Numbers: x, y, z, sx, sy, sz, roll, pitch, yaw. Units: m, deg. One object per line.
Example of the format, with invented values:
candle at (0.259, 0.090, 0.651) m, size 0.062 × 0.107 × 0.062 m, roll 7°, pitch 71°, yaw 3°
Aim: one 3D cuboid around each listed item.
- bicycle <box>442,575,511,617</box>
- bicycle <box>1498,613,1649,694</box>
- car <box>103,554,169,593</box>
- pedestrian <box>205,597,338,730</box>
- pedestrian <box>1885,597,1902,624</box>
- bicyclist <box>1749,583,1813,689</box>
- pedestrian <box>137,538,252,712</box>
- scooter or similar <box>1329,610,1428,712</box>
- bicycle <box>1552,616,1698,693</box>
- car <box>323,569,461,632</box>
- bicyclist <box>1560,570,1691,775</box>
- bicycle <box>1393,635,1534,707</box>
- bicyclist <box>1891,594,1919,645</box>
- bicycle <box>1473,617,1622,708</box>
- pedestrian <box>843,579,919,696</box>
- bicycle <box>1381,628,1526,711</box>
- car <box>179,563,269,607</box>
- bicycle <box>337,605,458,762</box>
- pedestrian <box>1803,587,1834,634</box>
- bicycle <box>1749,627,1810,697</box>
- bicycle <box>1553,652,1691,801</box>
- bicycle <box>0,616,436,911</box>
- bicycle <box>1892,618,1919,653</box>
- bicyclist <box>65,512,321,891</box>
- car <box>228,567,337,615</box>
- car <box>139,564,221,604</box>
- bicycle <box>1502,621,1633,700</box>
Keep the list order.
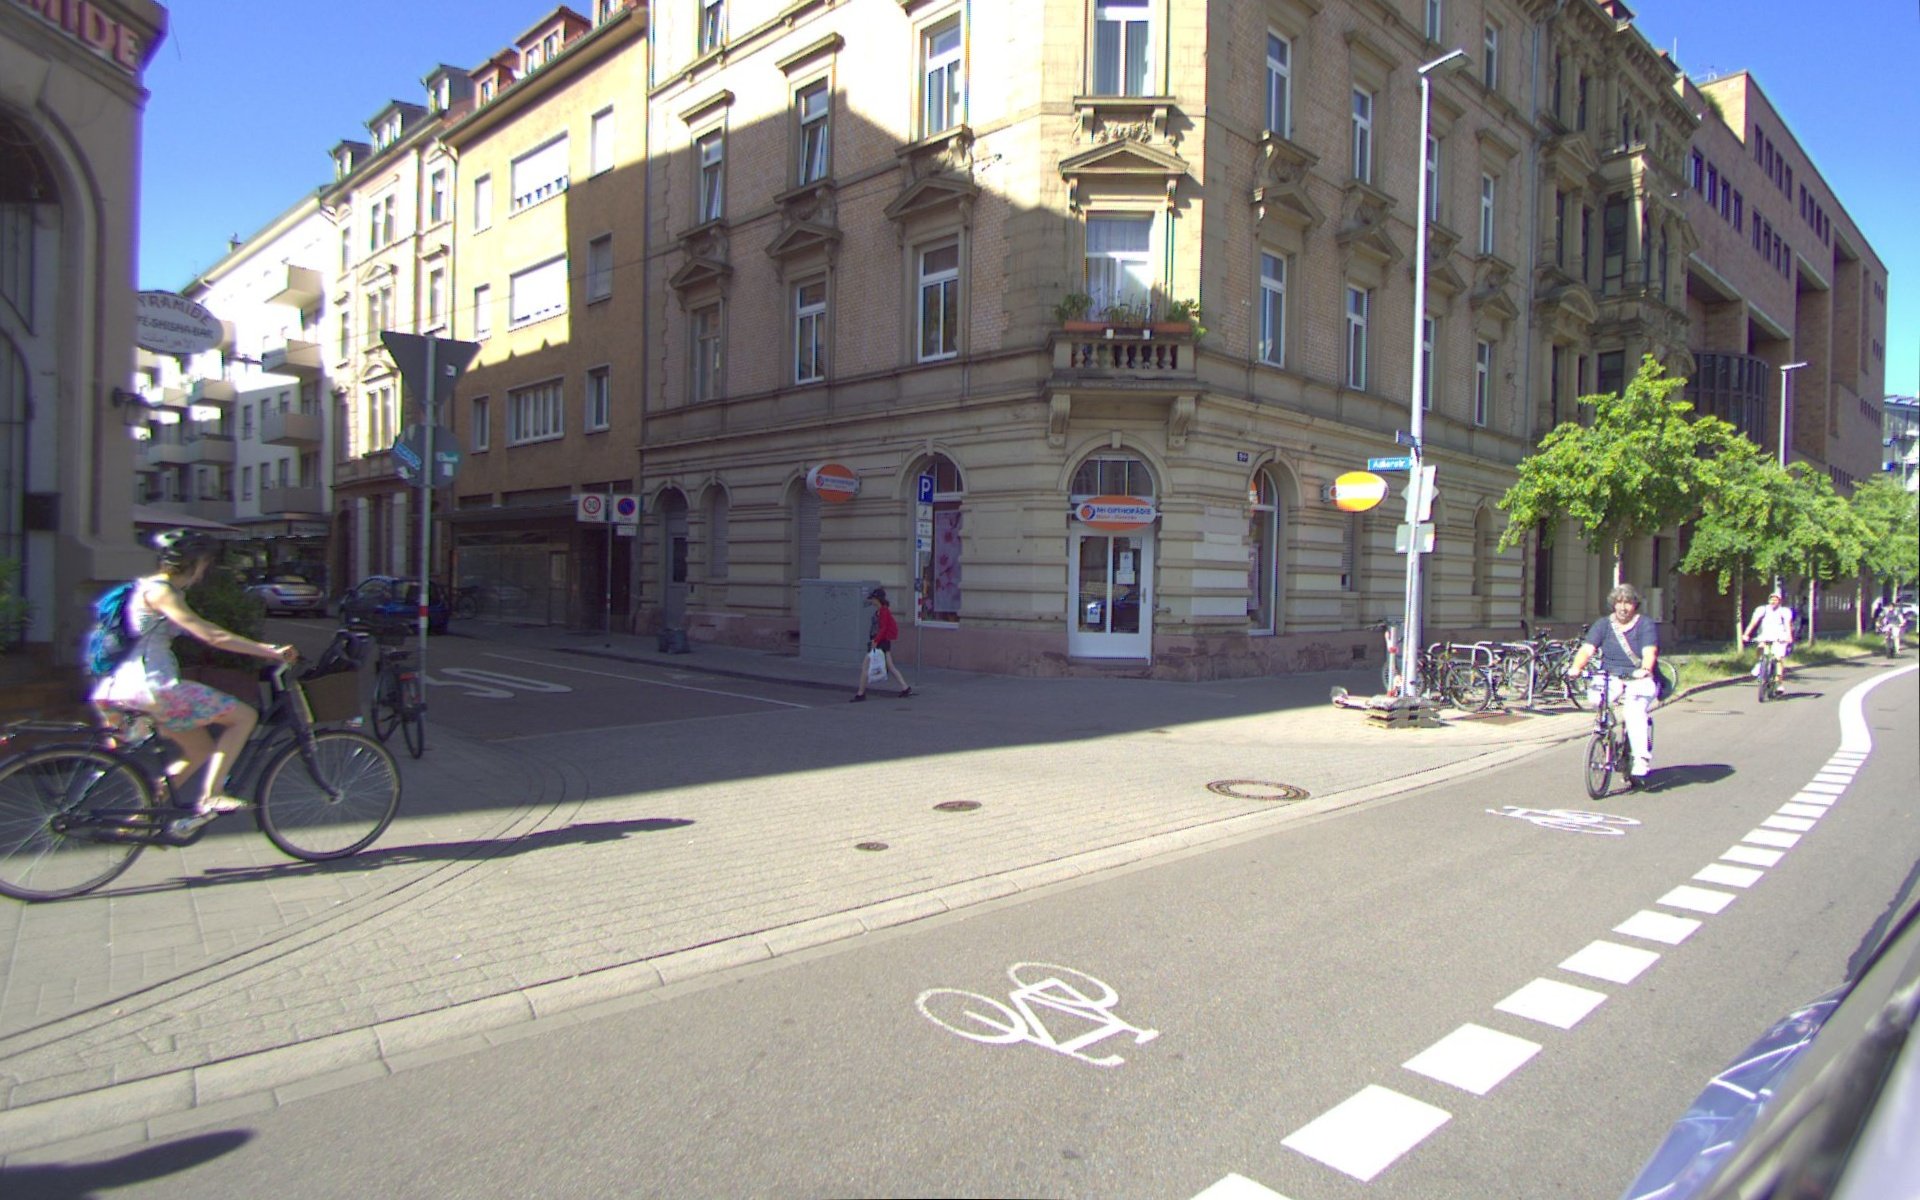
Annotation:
bicycle at (-14.267, -0.128, 29.852) m, size 1.988 × 1.193 × 0.629 m, roll 1°, pitch 1°, yaw 19°
bicycle at (10.287, 0.860, 17.030) m, size 0.697 × 1.142 × 2.001 m, roll 1°, pitch 3°, yaw -39°
car at (-37.556, -1.220, 46.114) m, size 3.758 × 1.686 × 1.775 m, roll 2°, pitch 1°, yaw 42°
pedestrian at (-6.802, 0.589, 10.005) m, size 0.849 × 1.229 × 0.920 m, roll 0°, pitch 0°, yaw 43°
pedestrian at (52.842, 0.571, 57.277) m, size 0.723 × 1.505 × 0.633 m, roll 0°, pitch 1°, yaw -41°
bicyclist at (13.988, 0.592, 17.237) m, size 0.893 × 1.751 × 0.684 m, roll 1°, pitch -1°, yaw -41°
pedestrian at (-8.334, 0.255, 11.022) m, size 0.906 × 1.783 × 0.854 m, roll 0°, pitch 0°, yaw 43°
scooter or similar at (5.383, 0.765, 13.066) m, size 0.411 × 1.204 × 1.115 m, roll 1°, pitch 1°, yaw -33°
bicycle at (11.512, 0.911, 17.555) m, size 1.993 × 1.106 × 0.835 m, roll 5°, pitch 3°, yaw 40°
car at (-14.616, 0.001, 25.971) m, size 3.983 × 1.438 × 1.775 m, roll 2°, pitch -1°, yaw 40°
bicyclist at (5.422, 0.553, 8.240) m, size 0.893 × 1.557 × 0.658 m, roll 1°, pitch -1°, yaw -41°
bicycle at (7.053, 0.967, 14.243) m, size 0.595 × 0.831 × 1.677 m, roll 1°, pitch 2°, yaw -33°
bicyclist at (30.905, 0.637, 32.951) m, size 0.748 × 1.637 × 0.755 m, roll 1°, pitch -1°, yaw -38°
bicycle at (8.522, 0.867, 14.749) m, size 0.595 × 1.114 × 1.729 m, roll 1°, pitch 3°, yaw -37°
pedestrian at (-1.084, 0.497, 13.979) m, size 0.911 × 1.561 × 0.710 m, roll 1°, pitch 1°, yaw 7°
bicycle at (6.649, 0.906, 13.706) m, size 0.595 × 0.955 × 1.677 m, roll 1°, pitch 1°, yaw -33°
car at (-26.034, -0.542, 35.767) m, size 3.757 × 1.450 × 1.776 m, roll 2°, pitch 1°, yaw 40°
bicycle at (-5.023, 0.687, 8.978) m, size 0.641 × 1.186 × 1.823 m, roll 5°, pitch -1°, yaw -36°
pedestrian at (35.741, 0.410, 42.142) m, size 1.087 × 1.906 × 0.789 m, roll 0°, pitch 1°, yaw -41°
bicycle at (13.948, 1.035, 17.217) m, size 1.481 × 1.110 × 0.577 m, roll 0°, pitch -1°, yaw -42°
bicycle at (5.390, 0.973, 8.214) m, size 1.481 × 1.040 × 0.558 m, roll 0°, pitch -1°, yaw -41°
bicycle at (-3.730, 0.723, 5.046) m, size 1.866 × 1.238 × 0.584 m, roll 2°, pitch 0°, yaw -42°
bicycle at (30.895, 1.143, 32.933) m, size 1.480 × 1.110 × 0.578 m, roll 0°, pitch -1°, yaw -38°
bicyclist at (-3.777, 0.438, 5.001) m, size 0.944 × 1.660 × 0.667 m, roll 1°, pitch 1°, yaw -41°
car at (-21.305, -0.303, 31.776) m, size 3.983 × 1.351 × 1.775 m, roll 2°, pitch -1°, yaw 40°
car at (-30.109, -0.643, 39.056) m, size 3.757 × 1.450 × 1.776 m, roll 2°, pitch 1°, yaw 40°
bicycle at (9.529, 0.920, 15.925) m, size 0.595 × 1.058 × 1.605 m, roll 1°, pitch 3°, yaw -37°
